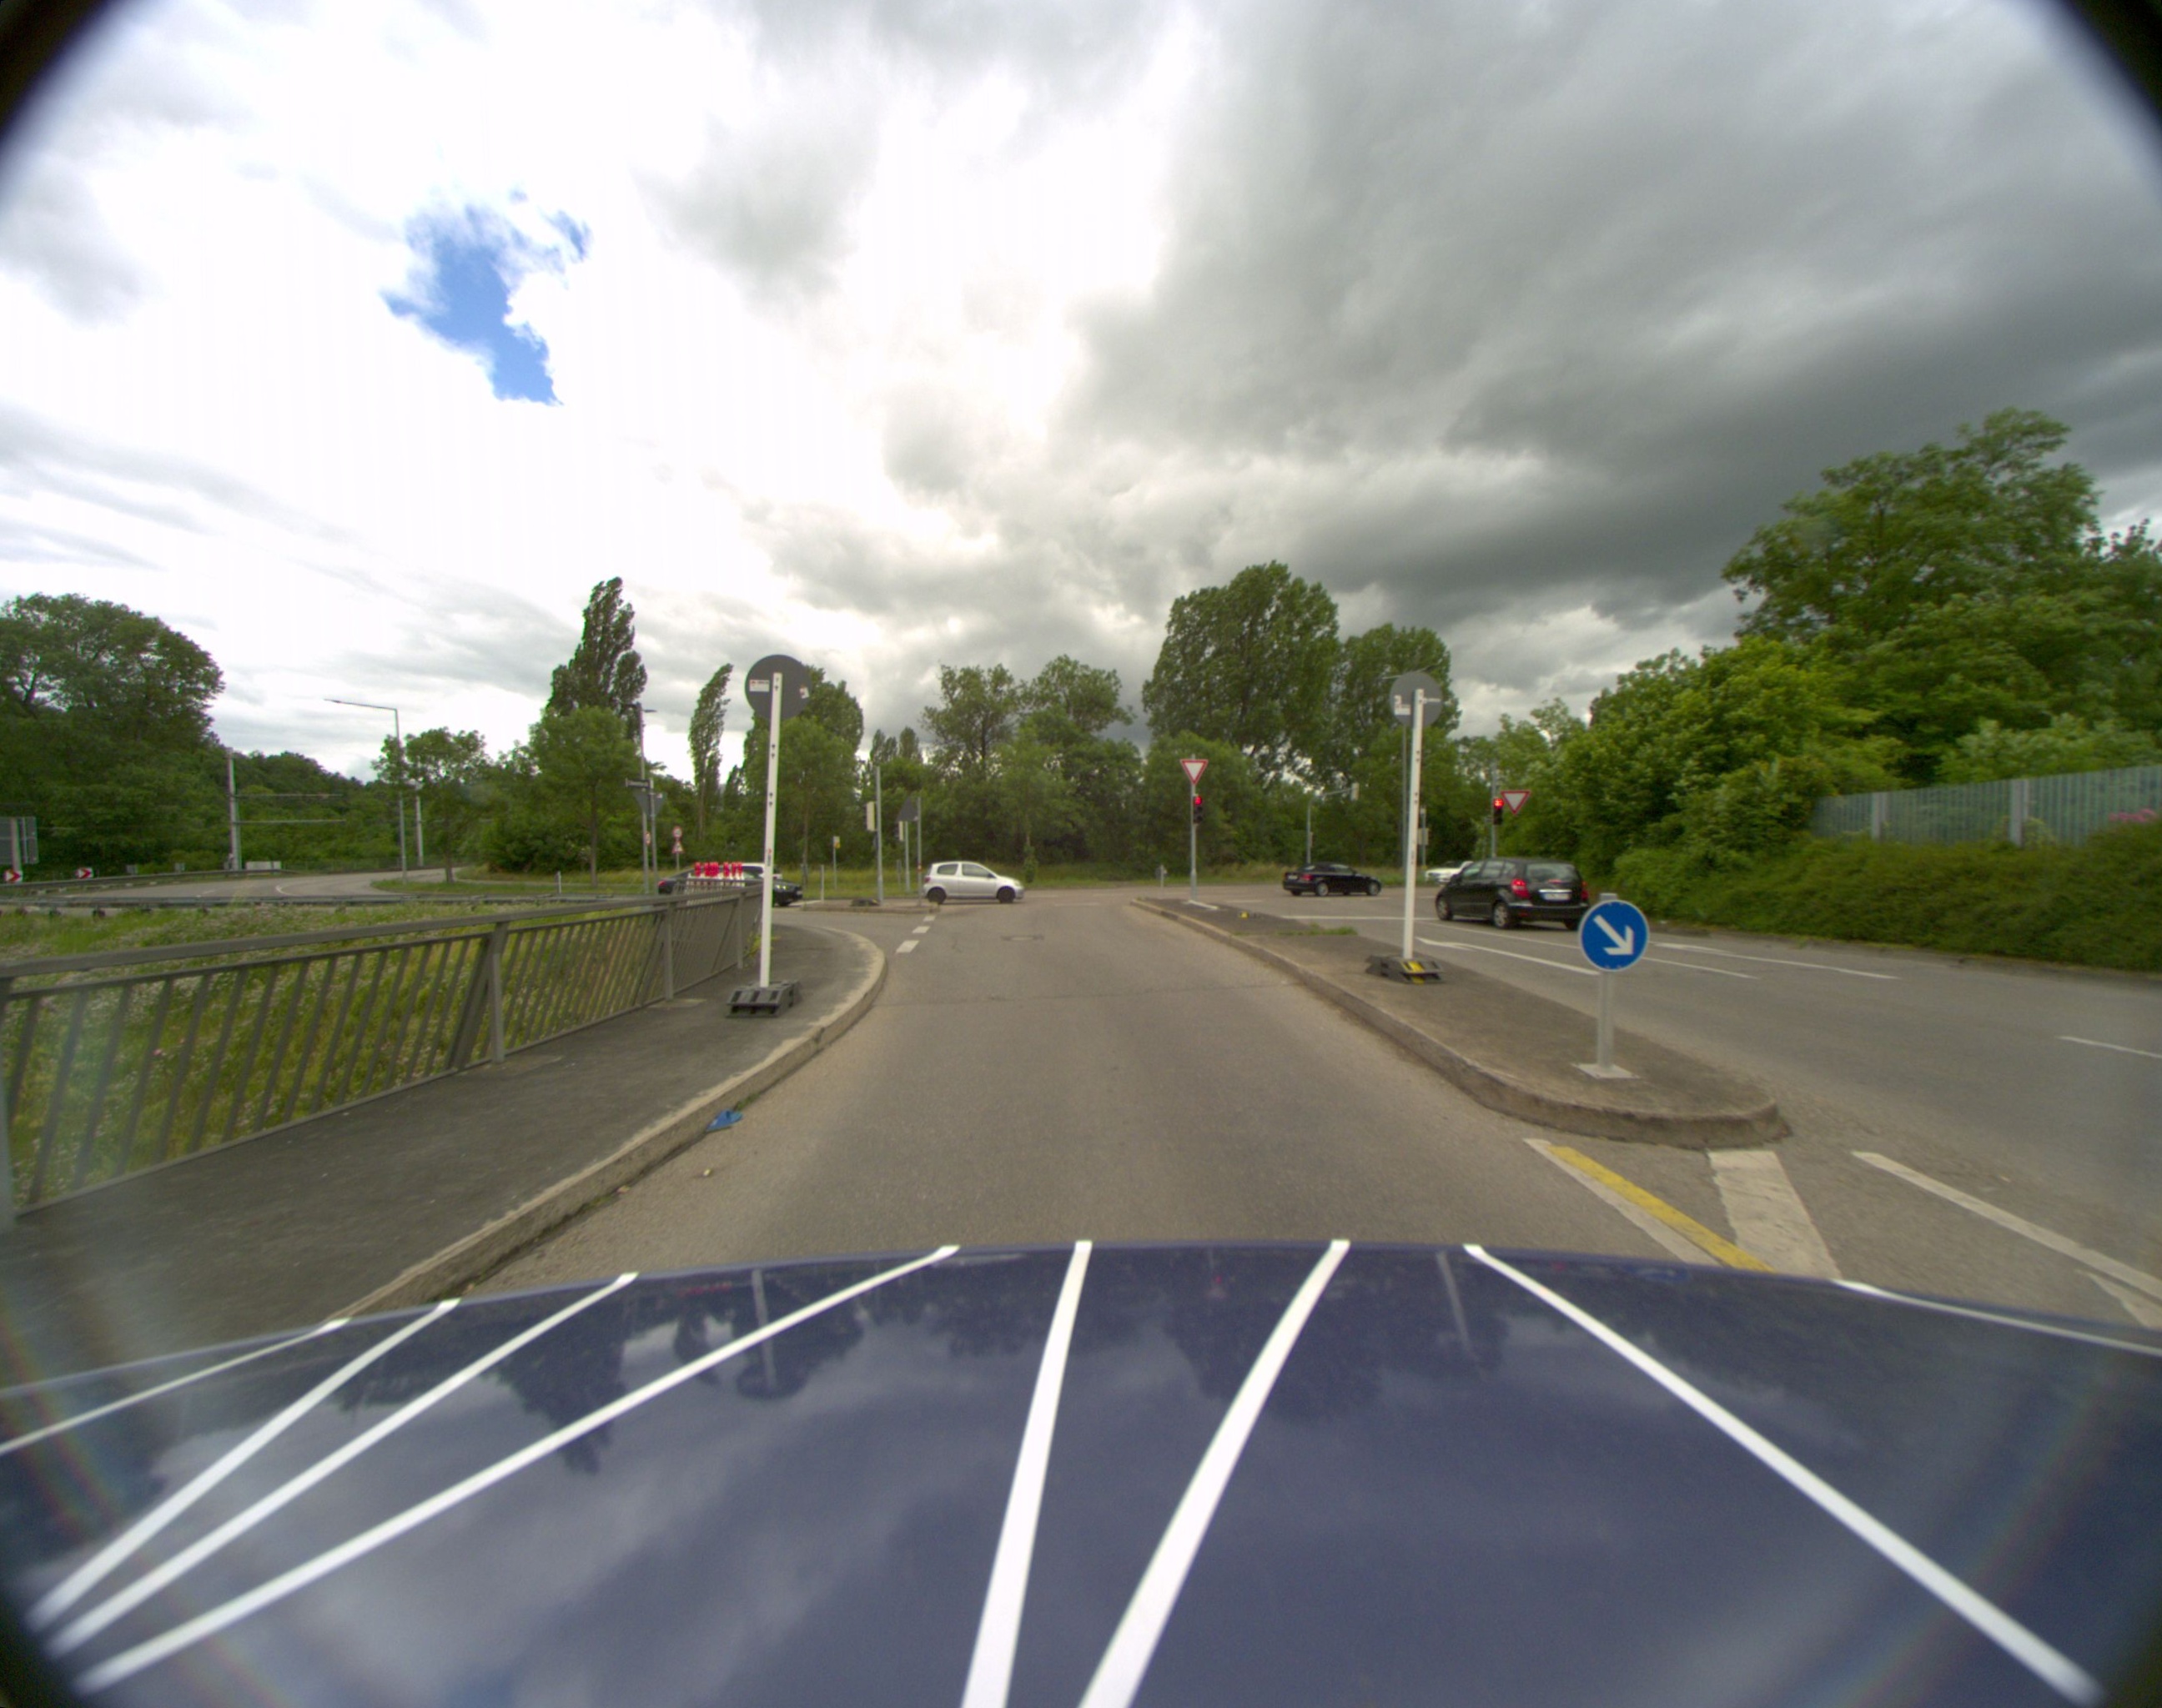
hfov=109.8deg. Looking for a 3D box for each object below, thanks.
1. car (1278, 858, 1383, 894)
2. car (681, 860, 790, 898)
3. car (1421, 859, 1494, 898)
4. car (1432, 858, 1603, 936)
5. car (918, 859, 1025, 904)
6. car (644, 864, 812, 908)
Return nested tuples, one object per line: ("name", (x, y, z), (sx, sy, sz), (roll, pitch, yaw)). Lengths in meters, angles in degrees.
("car", (10.283, 0.870, 31.297), (4.088, 1.360, 1.565), (-1, 0, -23))
("car", (-16.356, 1.157, 36.219), (4.323, 1.749, 2.082), (0, -1, -9))
("car", (23.608, 1.490, 47.655), (4.328, 1.984, 1.930), (-4, 4, -28))
("car", (9.841, 0.891, 17.485), (1.642, 1.543, 3.788), (2, 0, -2))
("car", (-3.862, 0.946, 26.922), (3.628, 1.461, 1.672), (0, 1, -9))
("car", (-12.156, 1.078, 26.396), (4.959, 1.468, 1.879), (0, 0, 1))
